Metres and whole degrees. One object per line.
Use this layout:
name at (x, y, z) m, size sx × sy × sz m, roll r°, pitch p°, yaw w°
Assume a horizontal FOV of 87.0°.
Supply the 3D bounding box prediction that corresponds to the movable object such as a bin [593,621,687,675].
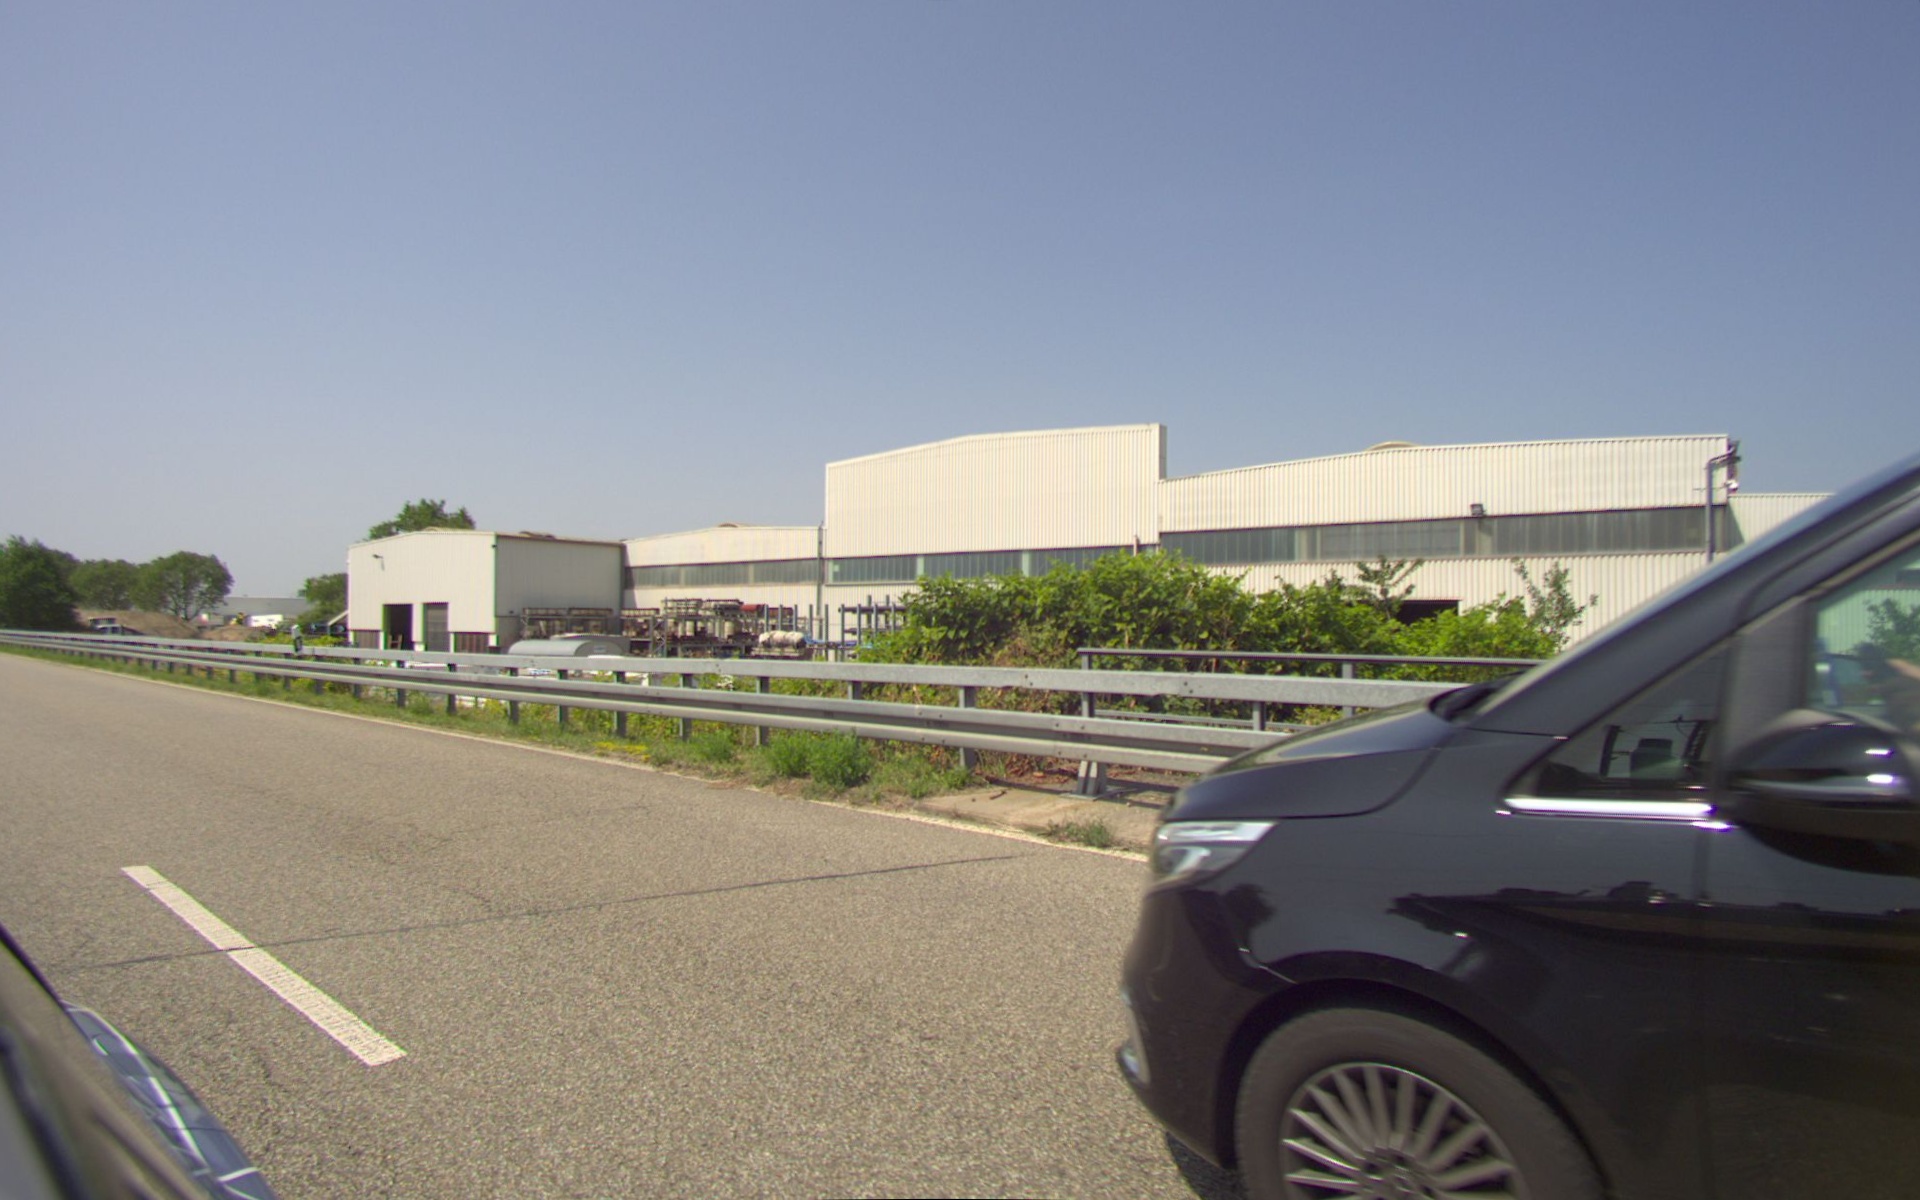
movable object such as a bin at (-17.672, 2.685, 56.091) m, size 2.127 × 2.701 × 4.506 m, roll 0°, pitch -6°, yaw 33°

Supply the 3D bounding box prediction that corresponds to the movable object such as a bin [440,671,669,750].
movable object such as a bin at (-11.776, 3.176, 29.855) m, size 2.444 × 2.034 × 5.843 m, roll -2°, pitch -5°, yaw 35°

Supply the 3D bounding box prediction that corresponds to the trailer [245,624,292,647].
trailer at (-132.783, 6.855, 194.177) m, size 15.558 × 4.293 × 2.671 m, roll -3°, pitch -3°, yaw 37°

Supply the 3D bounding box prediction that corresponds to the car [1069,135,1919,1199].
car at (2.893, 0.352, 1.240) m, size 5.366 × 2.029 × 1.873 m, roll -2°, pitch -1°, yaw 41°

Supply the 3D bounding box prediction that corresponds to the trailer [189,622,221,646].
trailer at (-136.311, 6.126, 182.713) m, size 7.529 × 4.251 × 2.827 m, roll -3°, pitch -2°, yaw 39°
